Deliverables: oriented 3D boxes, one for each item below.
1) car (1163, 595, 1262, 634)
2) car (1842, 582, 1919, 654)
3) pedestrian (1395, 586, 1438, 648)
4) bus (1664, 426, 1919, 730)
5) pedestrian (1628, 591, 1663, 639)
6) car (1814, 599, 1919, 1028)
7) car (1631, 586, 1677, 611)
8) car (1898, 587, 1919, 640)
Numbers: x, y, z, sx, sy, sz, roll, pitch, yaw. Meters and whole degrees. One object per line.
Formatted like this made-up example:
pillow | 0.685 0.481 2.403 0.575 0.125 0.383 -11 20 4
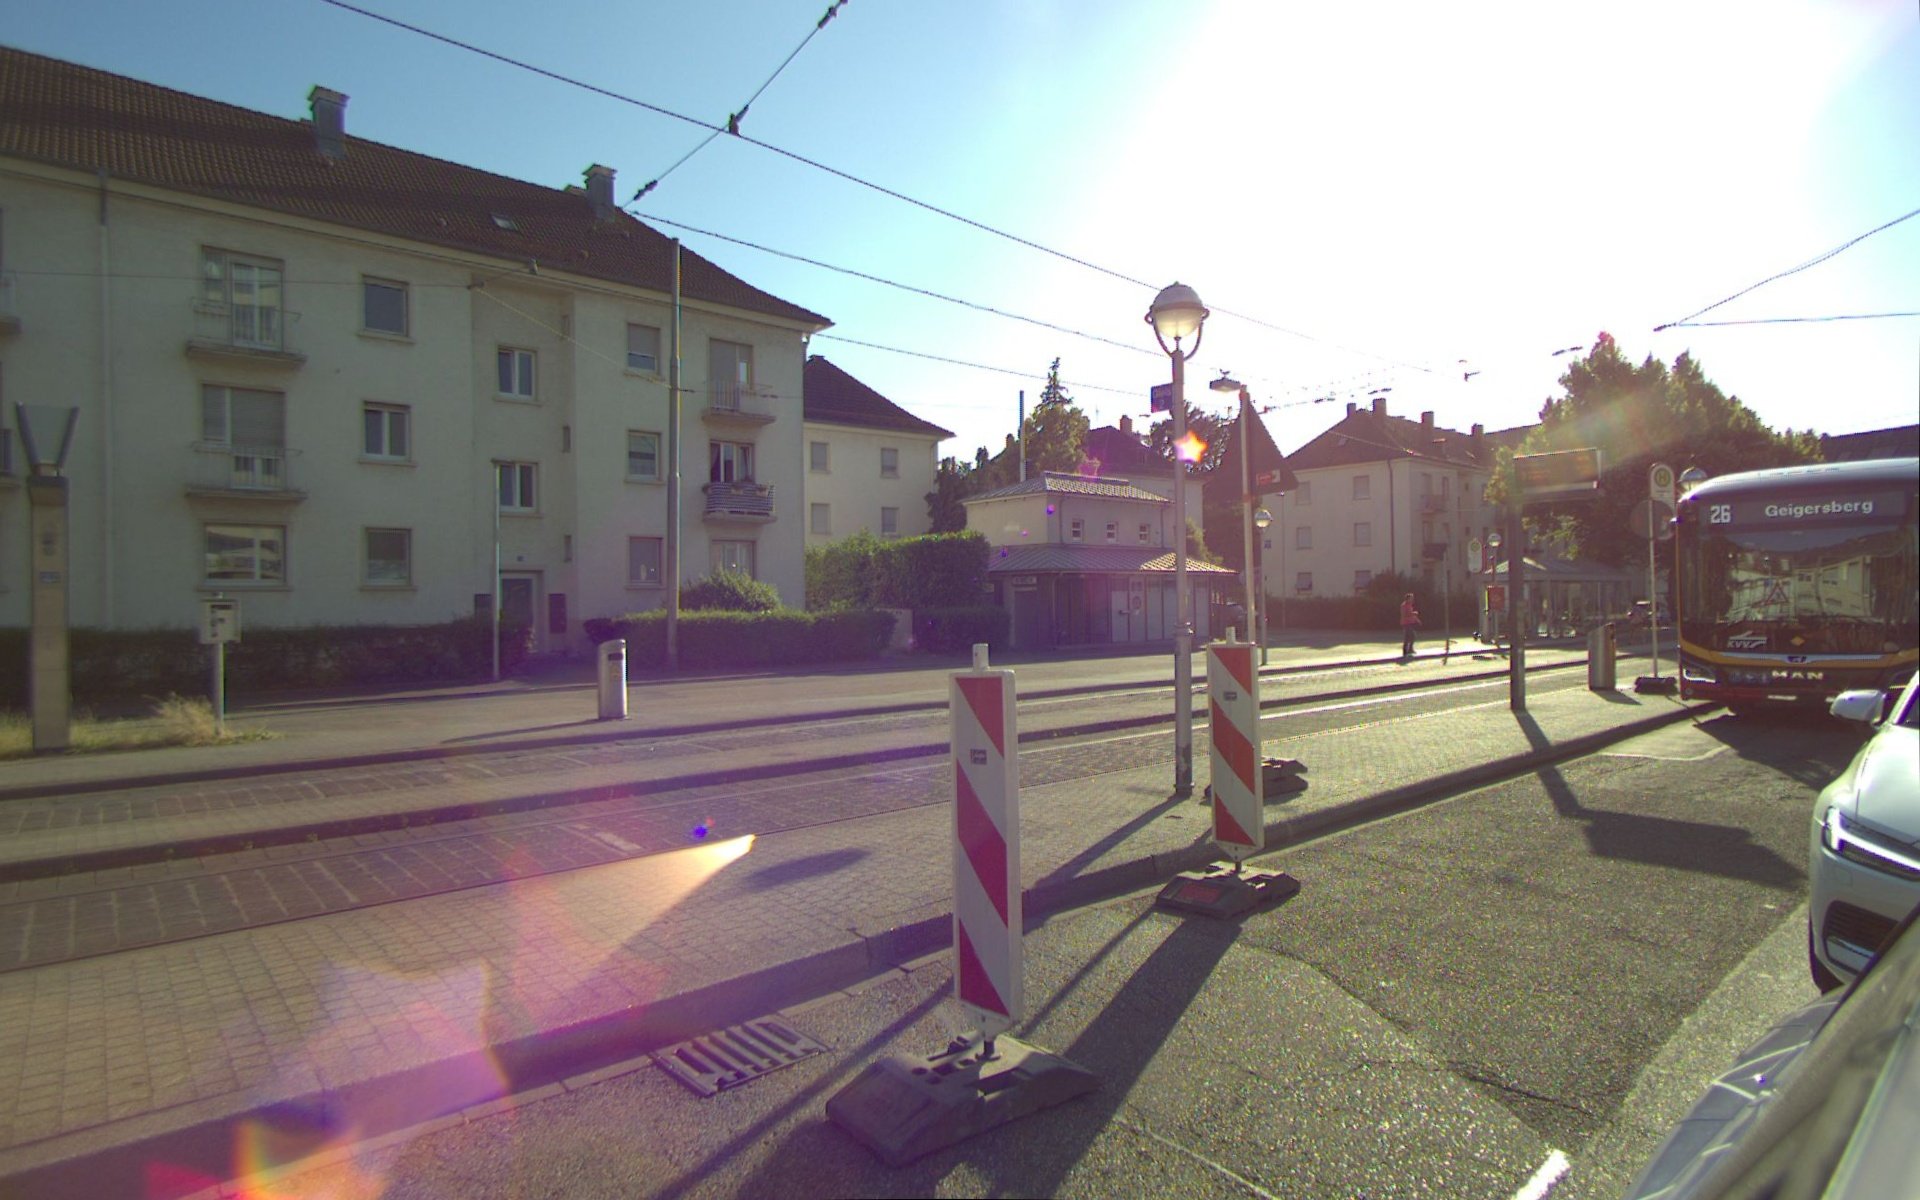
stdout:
car | 11.584 0.685 46.670 1.964 1.694 4.050 -1 -1 -39
car | 21.225 0.364 22.366 4.740 1.477 1.968 0 0 -41
pedestrian | 13.101 0.480 29.059 0.810 1.740 0.841 0 0 -40
bus | 14.317 -0.260 15.848 11.824 3.345 2.745 0 0 -42
pedestrian | 23.926 0.509 35.351 0.815 1.631 0.837 0 0 21
car | 5.273 0.734 4.360 4.143 1.472 1.819 0 0 -41
car | 53.778 -0.101 78.438 3.930 1.887 1.997 -1 0 -41
car | 28.784 0.375 29.232 4.740 1.477 1.968 0 0 -41
